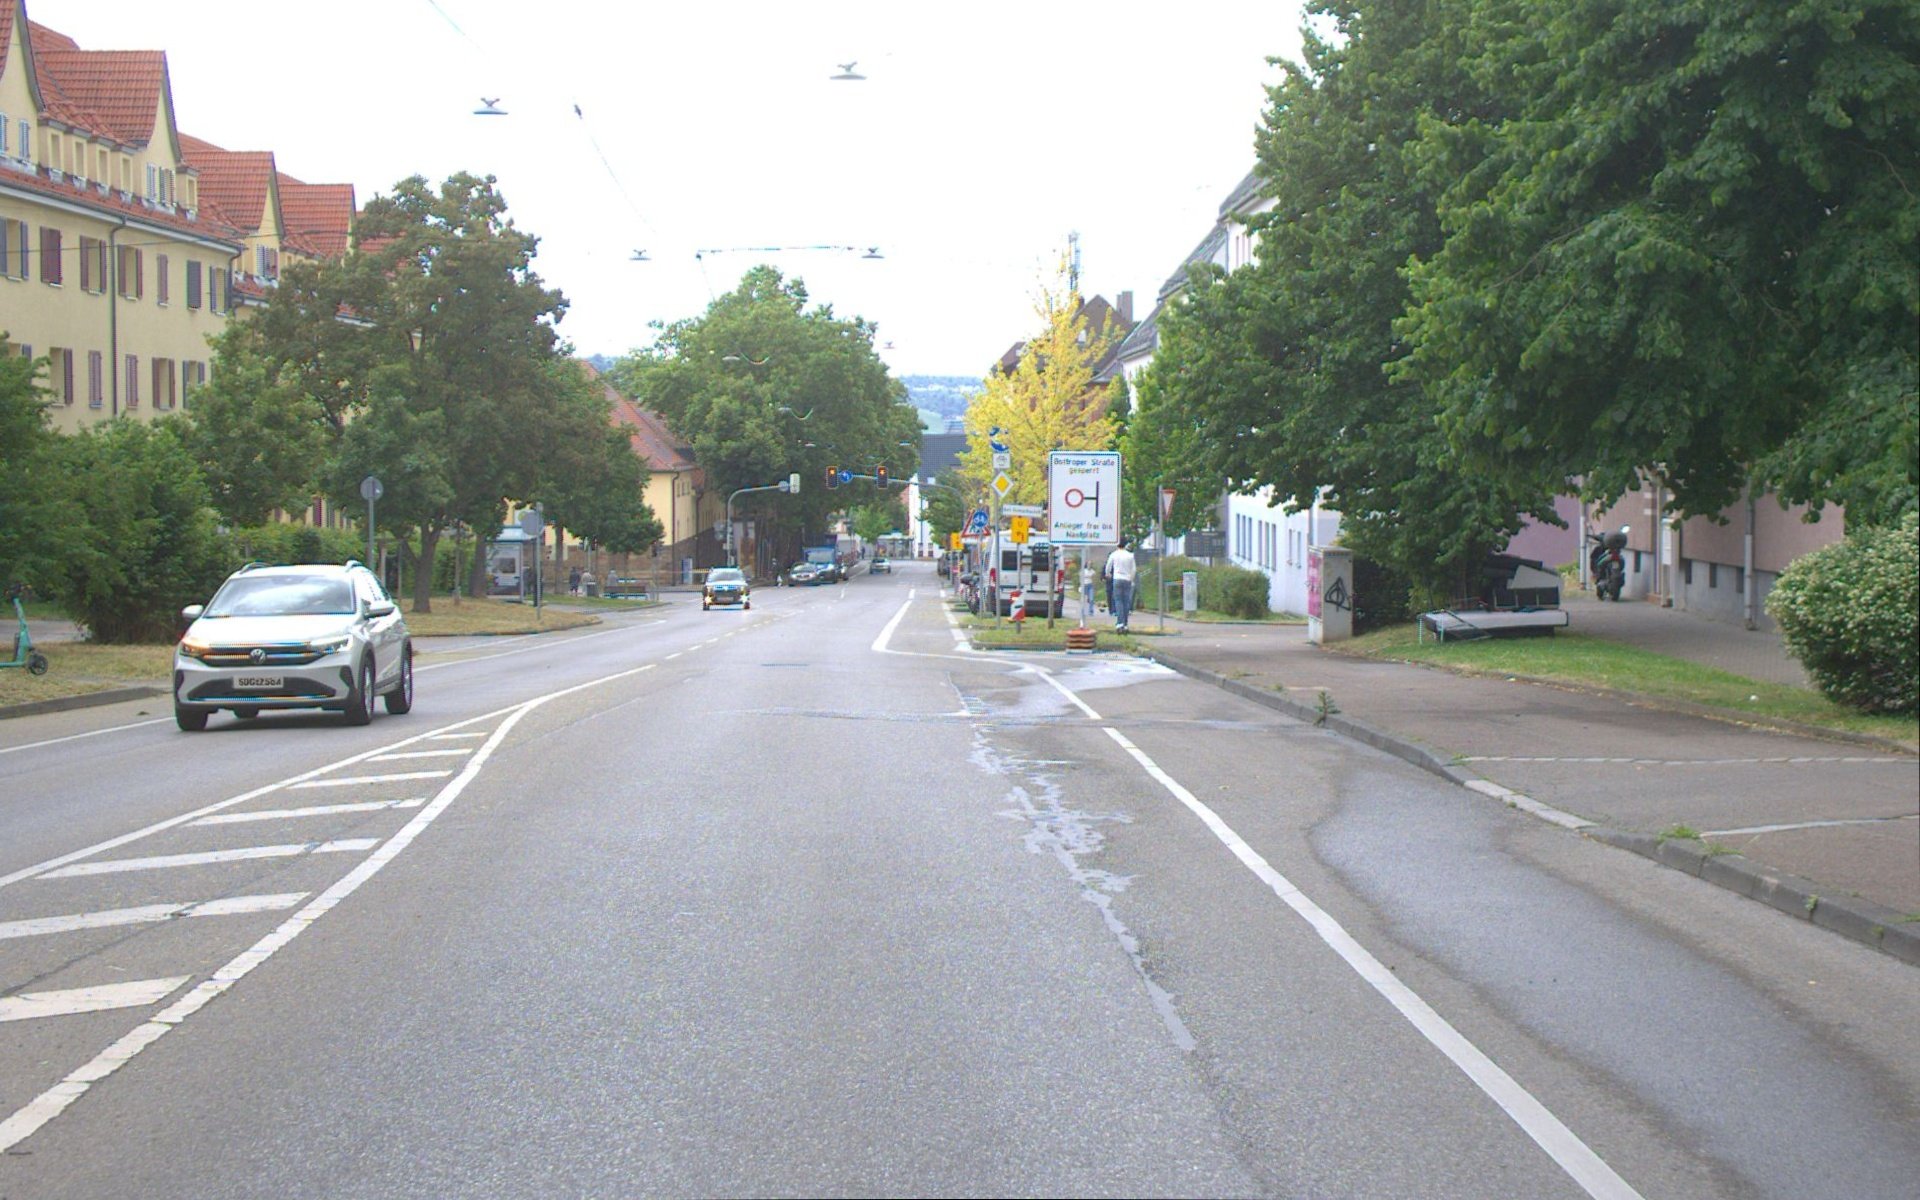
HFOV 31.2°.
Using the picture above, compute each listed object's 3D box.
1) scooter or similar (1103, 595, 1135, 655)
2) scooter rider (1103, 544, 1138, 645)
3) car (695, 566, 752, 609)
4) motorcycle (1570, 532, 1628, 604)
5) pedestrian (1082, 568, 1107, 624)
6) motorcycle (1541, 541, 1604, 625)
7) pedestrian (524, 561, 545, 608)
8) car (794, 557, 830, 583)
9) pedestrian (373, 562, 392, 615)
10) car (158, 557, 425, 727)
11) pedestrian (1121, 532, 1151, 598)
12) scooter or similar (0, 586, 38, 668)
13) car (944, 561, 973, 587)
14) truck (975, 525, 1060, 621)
[{"bbox_3d":[3.201,0.504,69.293,0.490,1.159,2.075,1,1,-1],"label":"scooter or similar"},{"bbox_3d":[3.237,-0.117,69.258,0.625,2.007,0.758,1,1,-1],"label":"scooter rider"},{"bbox_3d":[-9.156,-0.500,133.538,1.899,1.614,4.362,1,1,0],"label":"car"},{"bbox_3d":[11.073,-0.565,59.589,0.590,1.223,1.967,0,1,-1],"label":"motorcycle"},{"bbox_3d":[3.943,-0.117,100.615,0.576,1.638,0.562,0,-1,-14],"label":"pedestrian"},{"bbox_3d":[11.751,-0.342,65.988,0.731,1.564,2.550,1,1,0],"label":"motorcycle"},{"bbox_3d":[-15.549,-0.564,125.681,0.597,1.721,0.861,1,0,2],"label":"pedestrian"},{"bbox_3d":[-8.769,-1.790,203.542,1.756,1.467,4.306,-1,1,3],"label":"car"},{"bbox_3d":[-19.485,-0.376,115.959,0.513,1.773,0.753,1,1,-1],"label":"pedestrian"},{"bbox_3d":[-6.255,0.345,32.574,1.801,1.459,4.030,-1,1,-1],"label":"car"},{"bbox_3d":[5.112,-1.013,100.037,0.670,1.880,0.766,0,-1,-13],"label":"pedestrian"},{"bbox_3d":[-13.092,0.360,46.032,1.370,1.082,0.467,-1,1,-5],"label":"scooter or similar"},{"bbox_3d":[-0.124,-1.963,262.203,1.993,1.929,4.919,1,1,-3],"label":"car"},{"bbox_3d":[1.550,-0.761,94.883,2.052,2.557,5.690,1,1,-2],"label":"truck"}]
